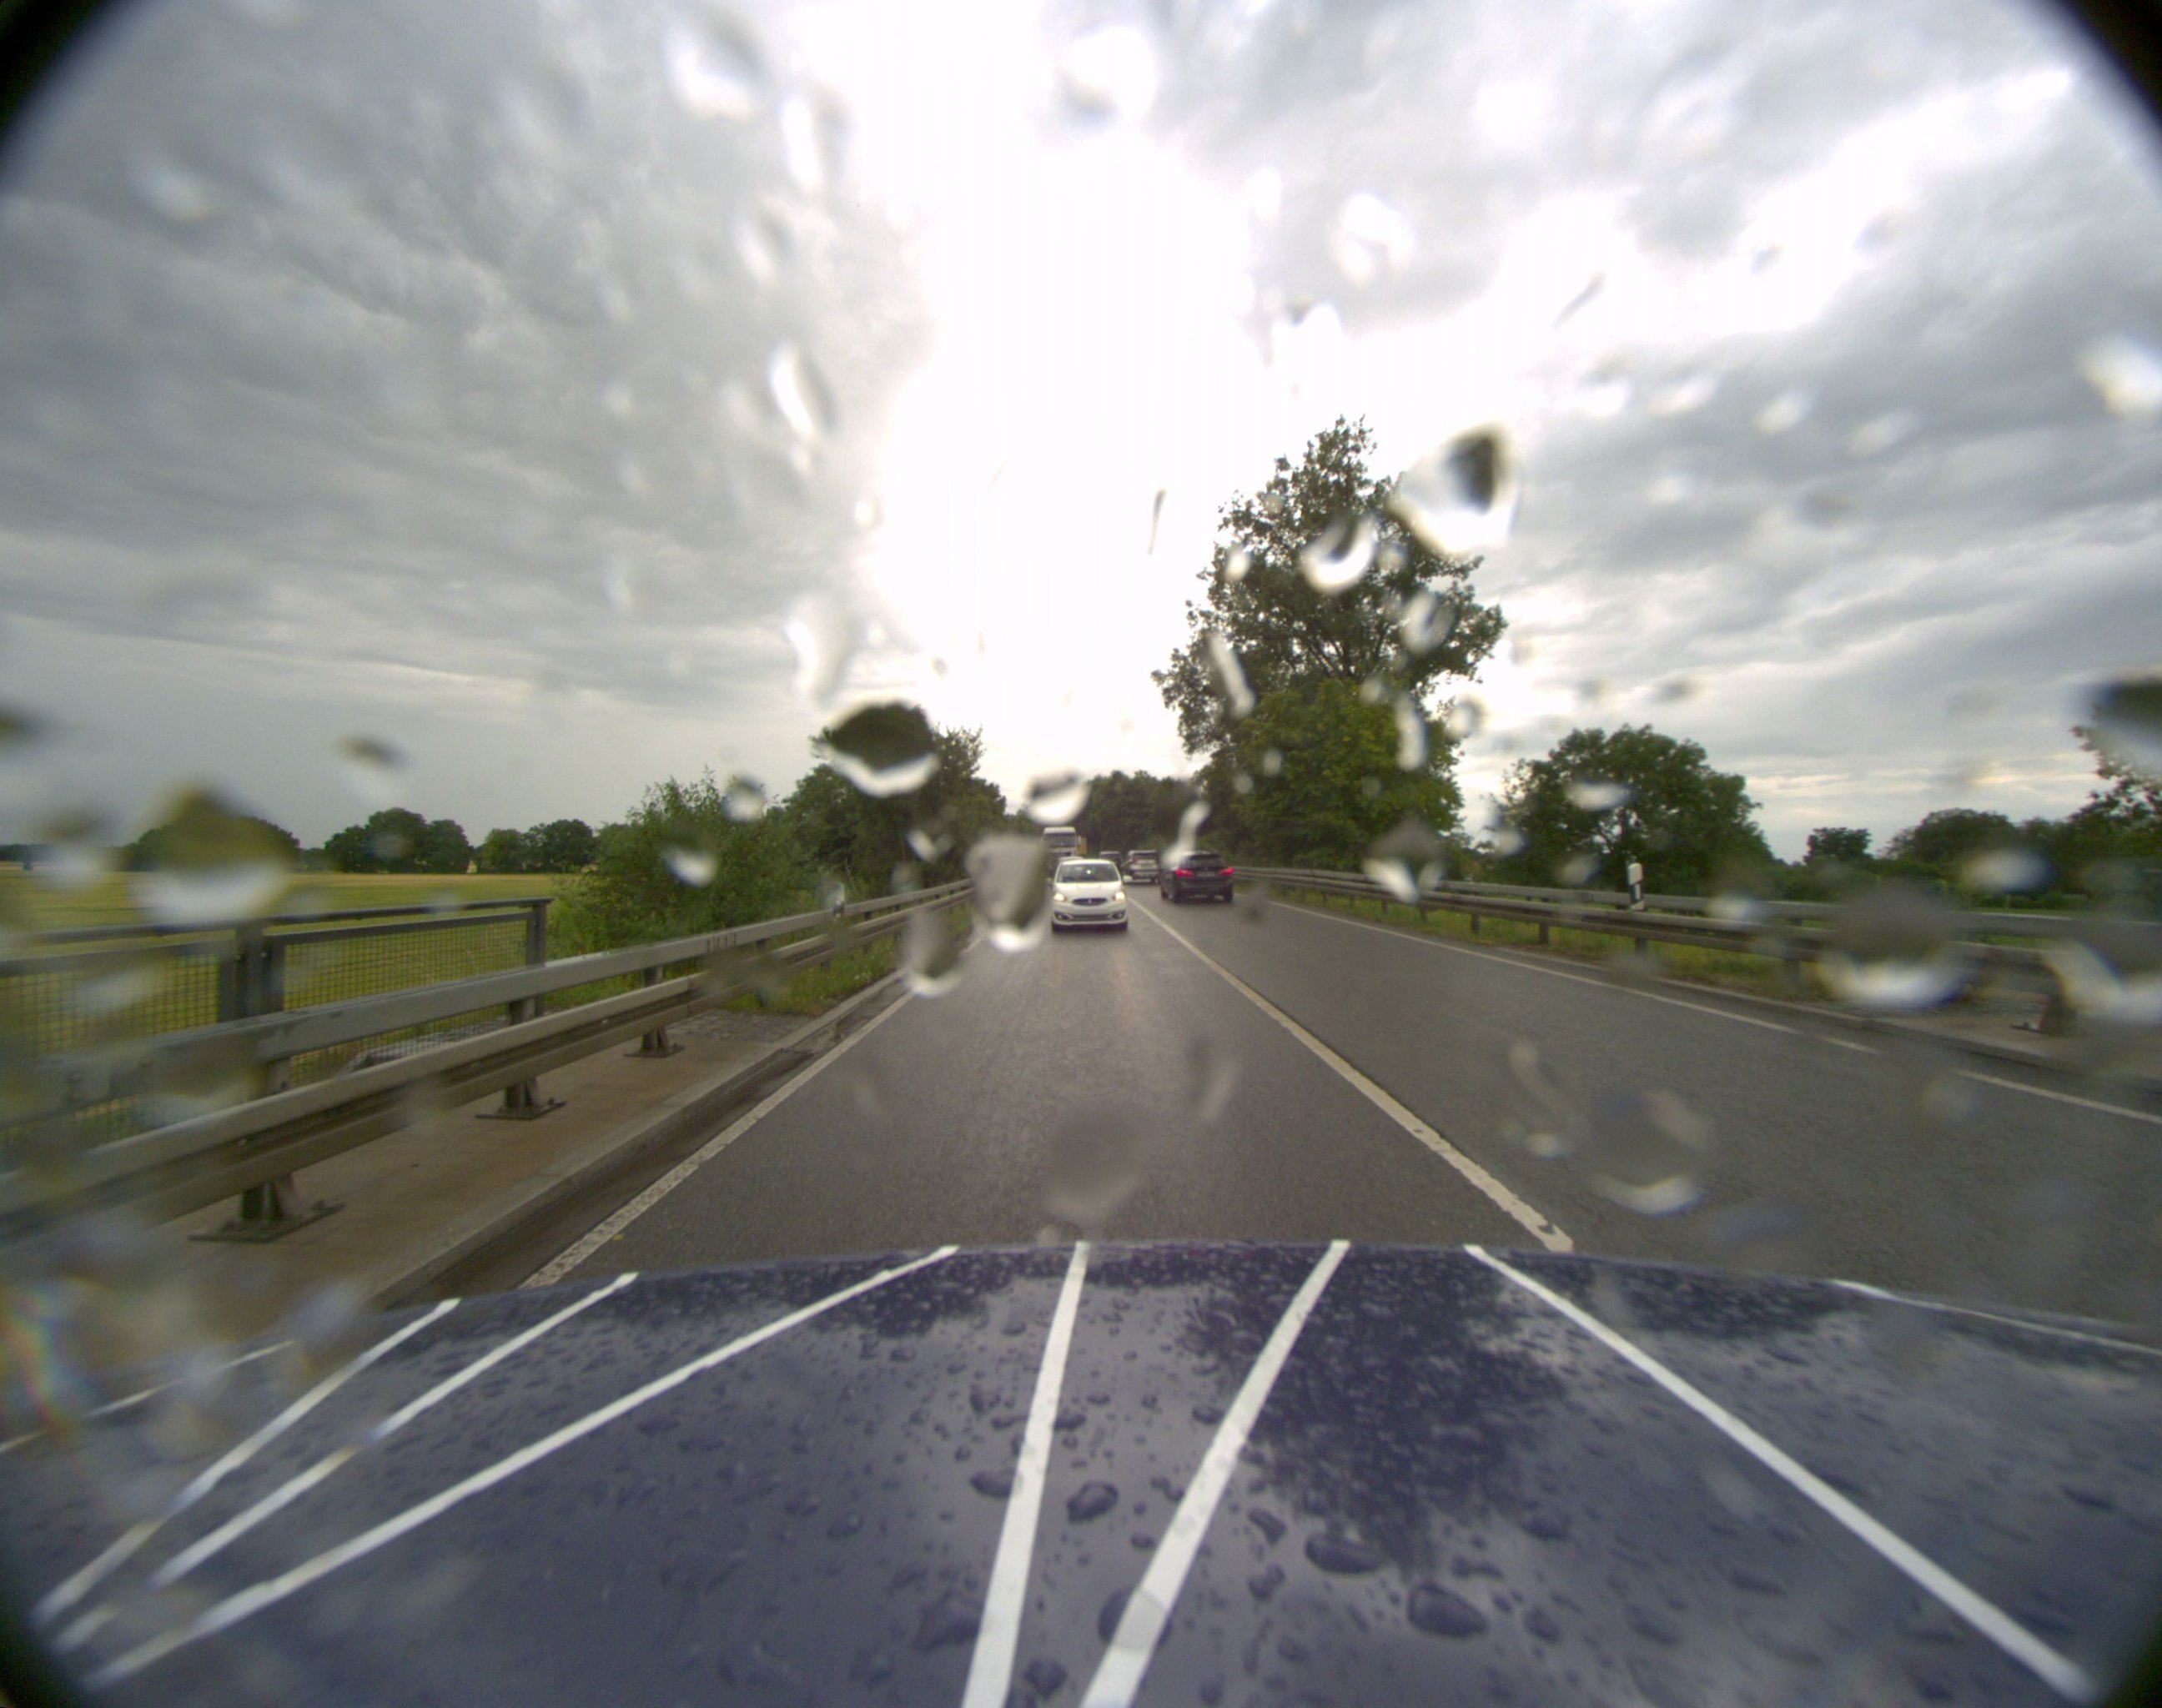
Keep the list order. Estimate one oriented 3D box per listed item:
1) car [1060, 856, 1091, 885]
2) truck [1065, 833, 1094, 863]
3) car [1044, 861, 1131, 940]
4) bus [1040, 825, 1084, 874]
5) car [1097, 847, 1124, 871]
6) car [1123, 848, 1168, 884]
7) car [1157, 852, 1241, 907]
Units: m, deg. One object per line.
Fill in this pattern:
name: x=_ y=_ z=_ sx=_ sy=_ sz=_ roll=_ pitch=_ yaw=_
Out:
car: x=-0.258 y=0.813 z=39.303 sx=1.475 sy=1.410 sz=3.428 roll=-1 pitch=0 yaw=0
truck: x=-0.252 y=-0.836 z=96.270 sx=2.778 sy=3.410 sz=9.181 roll=-4 pitch=2 yaw=-4
car: x=0.141 y=0.950 z=17.297 sx=1.701 sy=1.471 sz=4.062 roll=-2 pitch=1 yaw=0
bus: x=-1.666 y=-0.387 z=60.905 sx=3.064 sy=3.405 sz=13.636 roll=-2 pitch=0 yaw=-3
car: x=2.167 y=0.380 z=56.877 sx=1.750 sy=1.644 sz=4.524 roll=-2 pitch=0 yaw=-1
car: x=3.276 y=0.599 z=39.478 sx=1.846 sy=1.690 sz=4.389 roll=-2 pitch=0 yaw=-1
car: x=3.646 y=0.751 z=24.129 sx=1.904 sy=1.532 sz=4.022 roll=-2 pitch=0 yaw=-1
